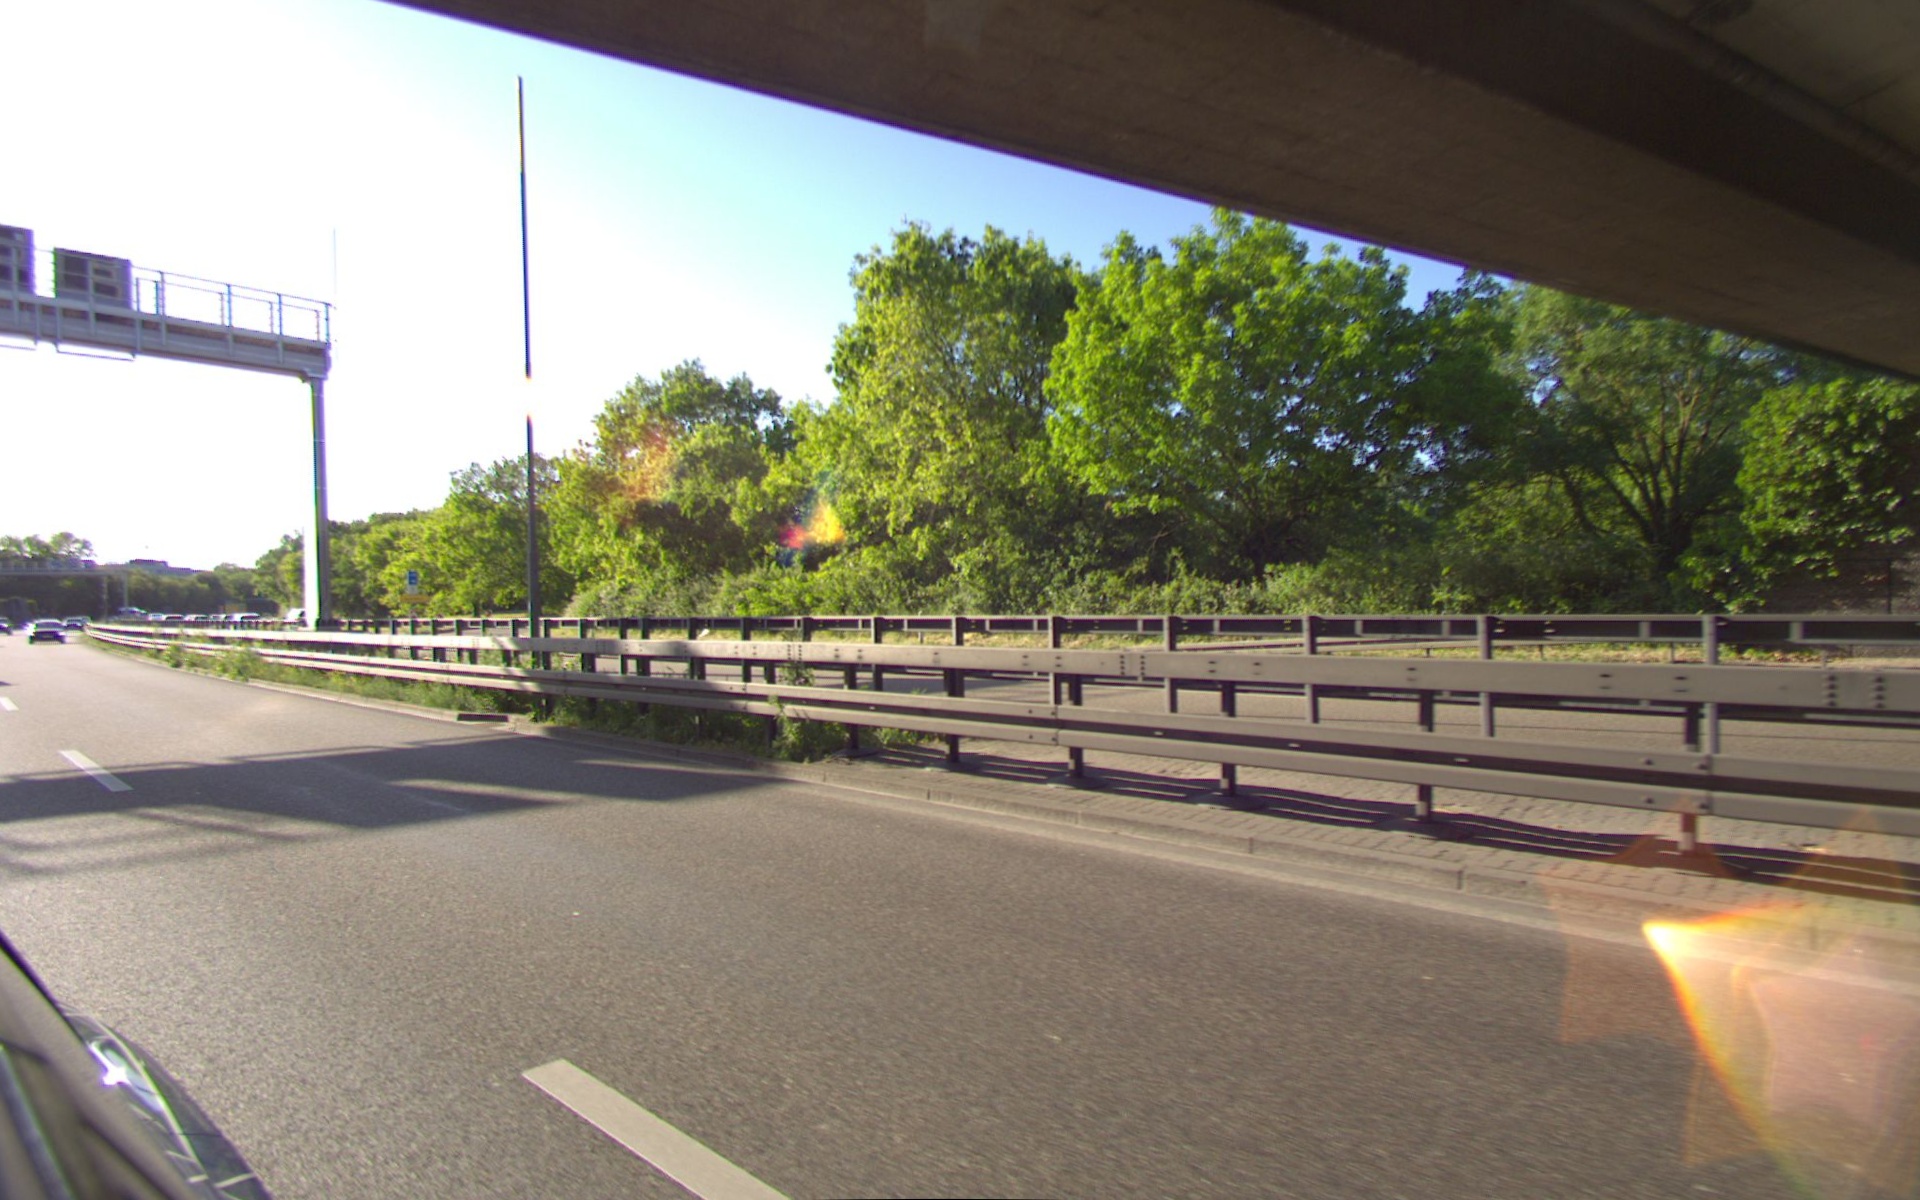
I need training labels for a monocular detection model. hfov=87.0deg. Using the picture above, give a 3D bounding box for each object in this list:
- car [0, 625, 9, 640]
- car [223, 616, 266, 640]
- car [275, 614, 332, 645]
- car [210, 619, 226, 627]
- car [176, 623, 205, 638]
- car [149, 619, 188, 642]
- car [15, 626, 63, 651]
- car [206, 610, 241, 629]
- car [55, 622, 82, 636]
[{"bbox_3d":[-92.254,3.134,96.422,1.968,1.425,4.840,-2,0,-38],"label":"car"},{"bbox_3d":[-53.204,2.051,75.205,1.970,1.653,4.725,-2,0,-43],"label":"car"},{"bbox_3d":[-38.447,1.695,59.184,1.970,1.653,4.725,-2,0,-43],"label":"car"},{"bbox_3d":[-149.306,4.653,203.644,1.966,1.425,4.846,-2,0,-29],"label":"car"},{"bbox_3d":[-83.382,3.327,109.650,1.970,1.489,4.725,-2,0,-43],"label":"car"},{"bbox_3d":[-62.518,2.405,79.941,1.970,1.653,4.725,-2,0,-43],"label":"car"},{"bbox_3d":[-58.684,2.433,64.459,4.832,1.425,1.971,-2,0,44],"label":"car"},{"bbox_3d":[-67.527,1.822,92.718,1.970,1.653,5.032,-2,0,-43],"label":"car"},{"bbox_3d":[-102.144,3.308,116.006,1.968,1.425,4.840,-2,0,-38],"label":"car"}]
